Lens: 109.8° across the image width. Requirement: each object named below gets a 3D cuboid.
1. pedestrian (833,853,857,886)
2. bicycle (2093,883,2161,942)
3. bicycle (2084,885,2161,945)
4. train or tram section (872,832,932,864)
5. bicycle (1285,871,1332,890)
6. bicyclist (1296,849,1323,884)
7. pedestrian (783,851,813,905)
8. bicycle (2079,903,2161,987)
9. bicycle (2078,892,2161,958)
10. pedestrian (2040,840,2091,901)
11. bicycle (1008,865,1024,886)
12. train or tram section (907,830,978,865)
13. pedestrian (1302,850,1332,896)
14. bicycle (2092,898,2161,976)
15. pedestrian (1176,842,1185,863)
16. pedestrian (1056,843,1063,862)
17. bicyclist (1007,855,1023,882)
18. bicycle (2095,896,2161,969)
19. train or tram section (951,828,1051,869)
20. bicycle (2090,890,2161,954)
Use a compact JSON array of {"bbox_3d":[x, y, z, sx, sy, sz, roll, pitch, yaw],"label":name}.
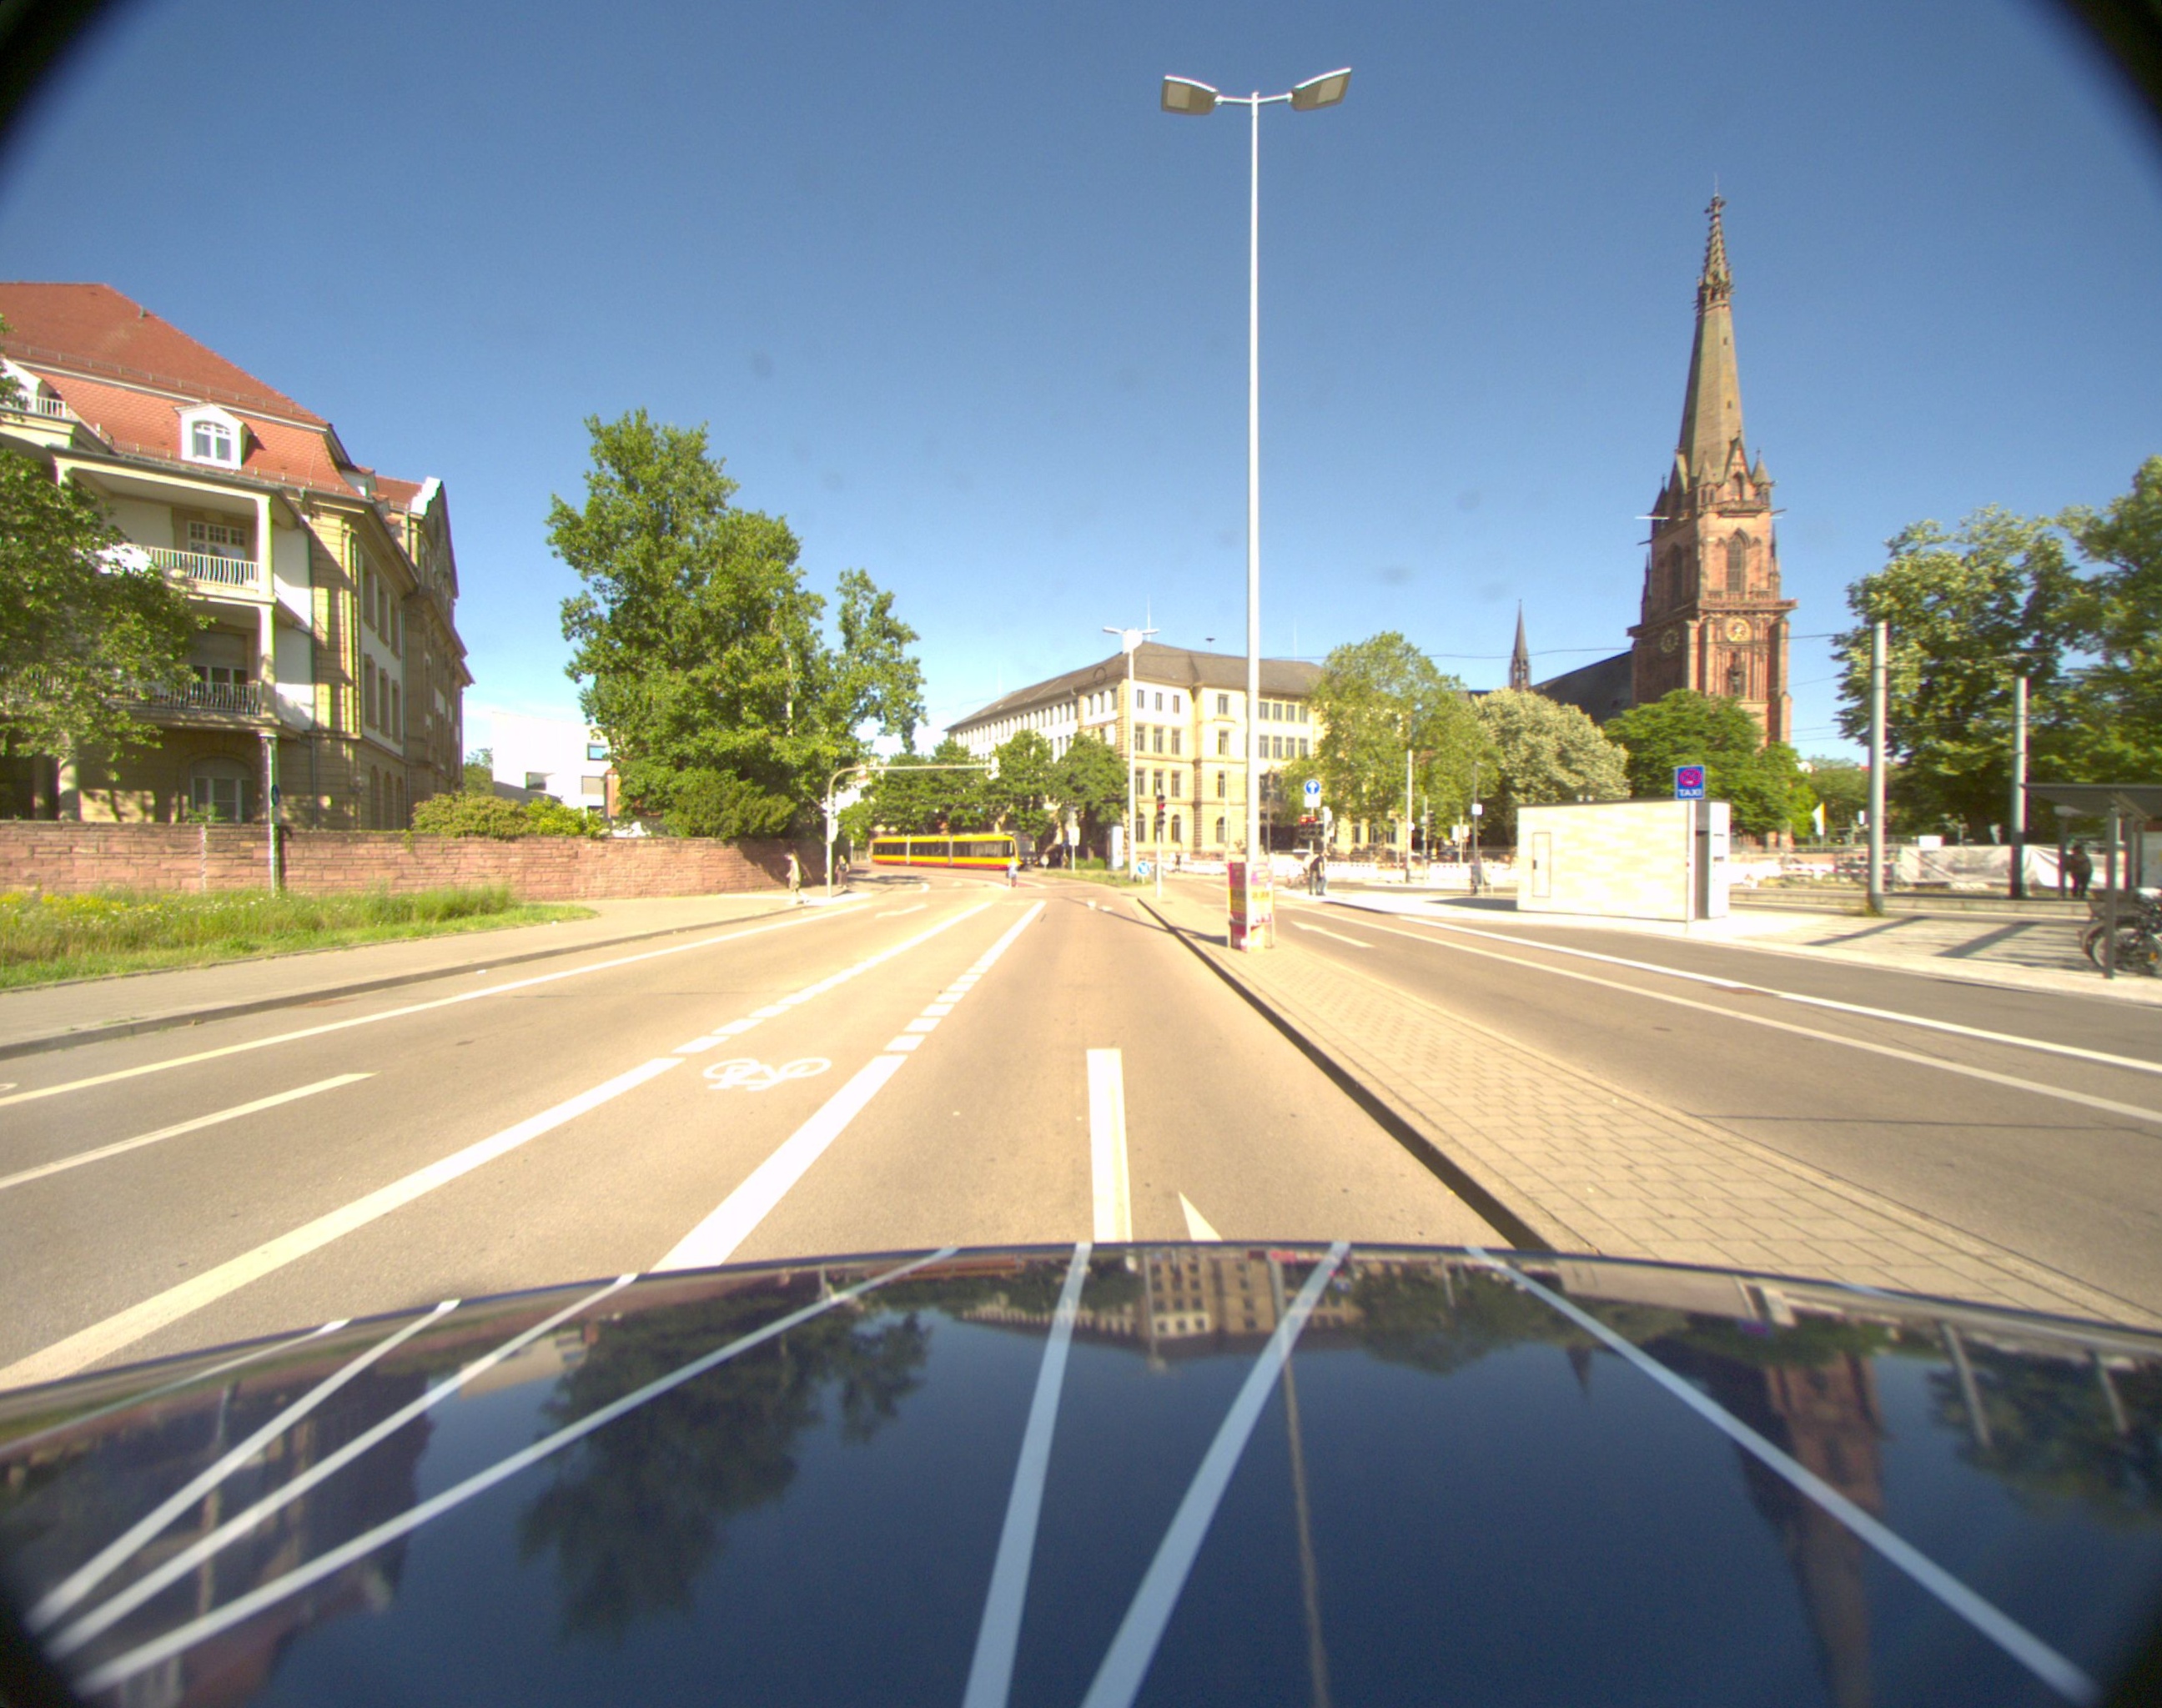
[{"bbox_3d":[-11.768,0.760,37.856,0.931,1.657,0.631,0,1,6],"label":"pedestrian"},{"bbox_3d":[19.512,1.063,13.581,0.407,0.993,1.679,-3,2,-33],"label":"bicycle"},{"bbox_3d":[19.027,1.082,13.339,0.407,0.993,1.679,-3,2,-33],"label":"bicycle"},{"bbox_3d":[-21.580,-0.706,91.104,2.947,3.662,11.646,-1,1,-34],"label":"train or tram section"},{"bbox_3d":[10.270,1.175,34.318,2.055,0.777,0.740,0,1,-22],"label":"bicycle"},{"bbox_3d":[10.302,0.569,34.316,0.887,1.562,0.740,-1,1,-22],"label":"bicyclist"},{"bbox_3d":[-9.788,0.816,26.266,0.785,1.847,0.632,1,1,40],"label":"pedestrian"},{"bbox_3d":[13.984,1.187,9.552,0.407,0.993,1.678,-3,3,-33],"label":"bicycle"},{"bbox_3d":[17.183,1.140,12.014,0.407,0.993,1.679,-3,2,-33],"label":"bicycle"},{"bbox_3d":[30.576,0.496,23.608,0.619,1.849,0.703,0,1,11],"label":"pedestrian"},{"bbox_3d":[-3.424,1.119,39.694,0.741,0.989,2.305,-2,1,-6],"label":"bicycle"},{"bbox_3d":[-14.998,-0.726,81.451,2.947,3.500,11.646,-1,1,-34],"label":"train or tram section"},{"bbox_3d":[9.072,0.717,29.193,1.001,1.733,0.631,0,1,8],"label":"pedestrian"},{"bbox_3d":[15.029,1.164,10.210,0.407,0.993,1.678,-3,3,-33],"label":"bicycle"},{"bbox_3d":[8.474,-0.132,64.957,0.540,1.710,0.545,-1,1,-37],"label":"pedestrian"},{"bbox_3d":[-2.415,-0.170,84.421,0.557,2.002,0.645,-1,1,-37],"label":"pedestrian"},{"bbox_3d":[-3.442,0.755,39.674,0.741,1.363,0.626,-2,1,-6],"label":"bicyclist"},{"bbox_3d":[16.127,1.181,11.000,0.407,0.993,1.678,-3,3,-33],"label":"bicycle"},{"bbox_3d":[-7.830,-0.517,70.981,2.947,3.500,13.802,-1,1,-35],"label":"train or tram section"},{"bbox_3d":[17.963,1.136,12.461,0.407,0.993,1.679,-3,2,-33],"label":"bicycle"}]
